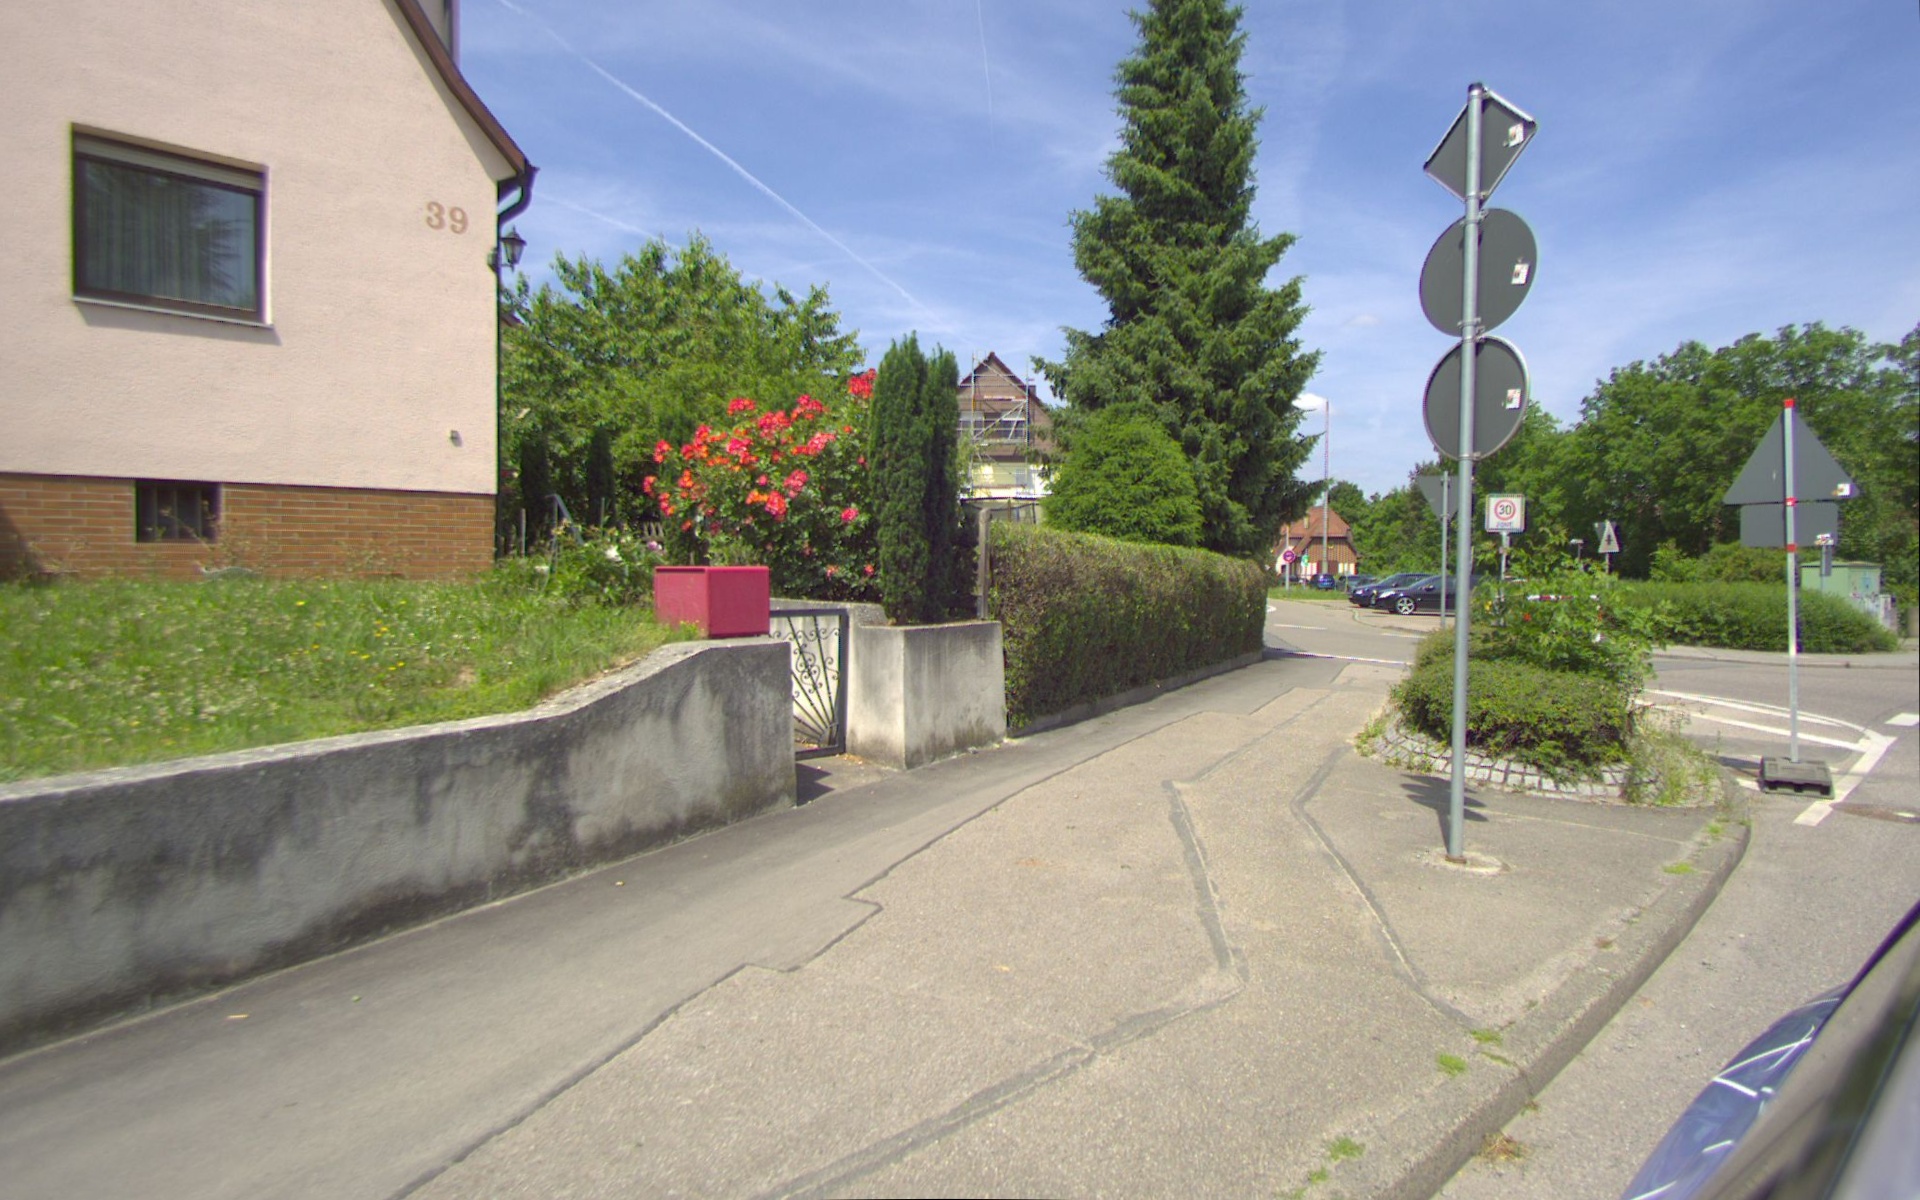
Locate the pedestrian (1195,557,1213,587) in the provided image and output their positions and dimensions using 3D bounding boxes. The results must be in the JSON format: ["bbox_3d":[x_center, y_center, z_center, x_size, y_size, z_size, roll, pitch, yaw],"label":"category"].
[{"bbox_3d":[16.992,-1.957,70.519,1.090,2.038,1.004,2,1,19],"label":"pedestrian"}]

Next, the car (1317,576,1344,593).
[{"bbox_3d":[32.994,-1.413,90.214,1.814,1.433,3.982,2,2,15],"label":"car"}]

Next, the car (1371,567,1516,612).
[{"bbox_3d":[16.568,-0.395,34.836,4.219,1.416,1.396,2,2,12],"label":"car"}]

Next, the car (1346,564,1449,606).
[{"bbox_3d":[17.267,-0.618,40.055,3.374,1.503,1.415,2,2,6],"label":"car"}]
